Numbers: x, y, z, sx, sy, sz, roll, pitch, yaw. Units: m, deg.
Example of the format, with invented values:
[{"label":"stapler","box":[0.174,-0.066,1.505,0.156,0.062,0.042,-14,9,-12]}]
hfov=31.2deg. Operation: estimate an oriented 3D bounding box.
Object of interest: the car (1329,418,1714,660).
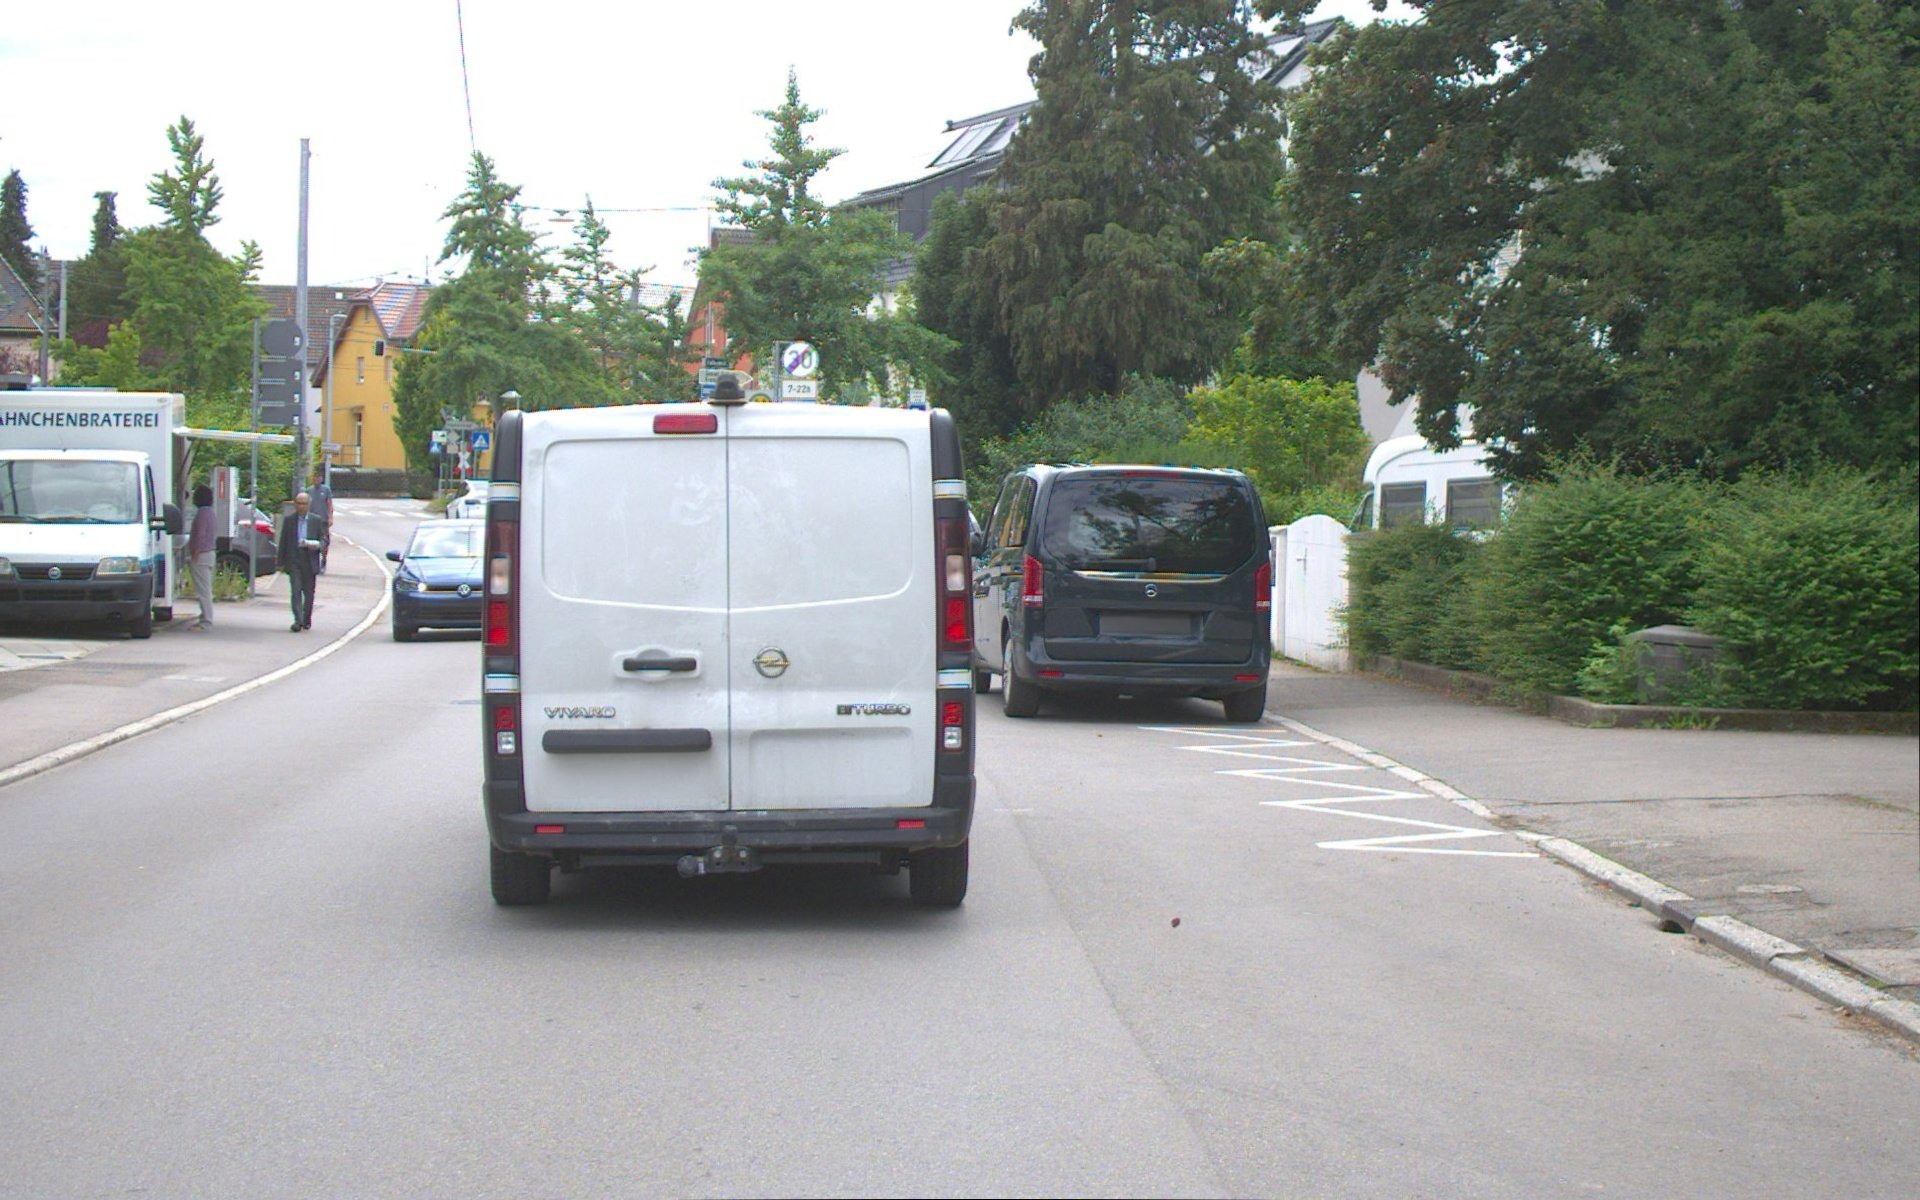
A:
[{"label":"car","box":[6.788,-0.784,42.292,2.496,2.672,5.188,3,1,-17]}]

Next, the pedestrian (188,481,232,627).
[{"label":"pedestrian","box":[-8.818,-0.543,40.435,0.401,1.689,0.597,3,1,-10]}]

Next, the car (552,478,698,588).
[{"label":"car","box":[-5.844,-1.179,59.593,1.993,1.841,4.002,0,2,-13]}]

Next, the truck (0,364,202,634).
[{"label":"truck","box":[-10.226,-1.167,39.887,2.472,2.830,6.710,1,1,-10]}]

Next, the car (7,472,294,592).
[{"label":"car","box":[-13.230,-1.110,56.148,4.310,1.690,1.798,3,1,-20]}]

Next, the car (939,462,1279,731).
[{"label":"car","box":[1.032,-0.084,26.682,1.909,1.842,5.159,2,1,-5]}]

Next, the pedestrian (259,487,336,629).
[{"label":"pedestrian","box":[-8.137,-0.523,42.261,0.722,1.681,1.109,3,1,-5]}]

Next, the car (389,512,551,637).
[{"label":"car","box":[-5.992,-0.344,42.375,1.693,1.427,3.928,1,1,-5]}]

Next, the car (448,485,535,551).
[{"label":"car","box":[-12.844,-2.255,94.104,1.993,1.776,4.002,0,2,-13]}]

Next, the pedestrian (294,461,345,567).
[{"label":"pedestrian","box":[-12.075,-1.626,64.862,0.733,1.939,1.218,3,1,-5]}]

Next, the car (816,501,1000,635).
[{"label":"car","box":[-0.695,-0.434,42.770,1.759,1.577,4.020,0,2,-9]}]

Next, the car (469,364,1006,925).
[{"label":"car","box":[-1.065,0.115,14.562,1.915,1.996,4.439,0,1,-7]}]
